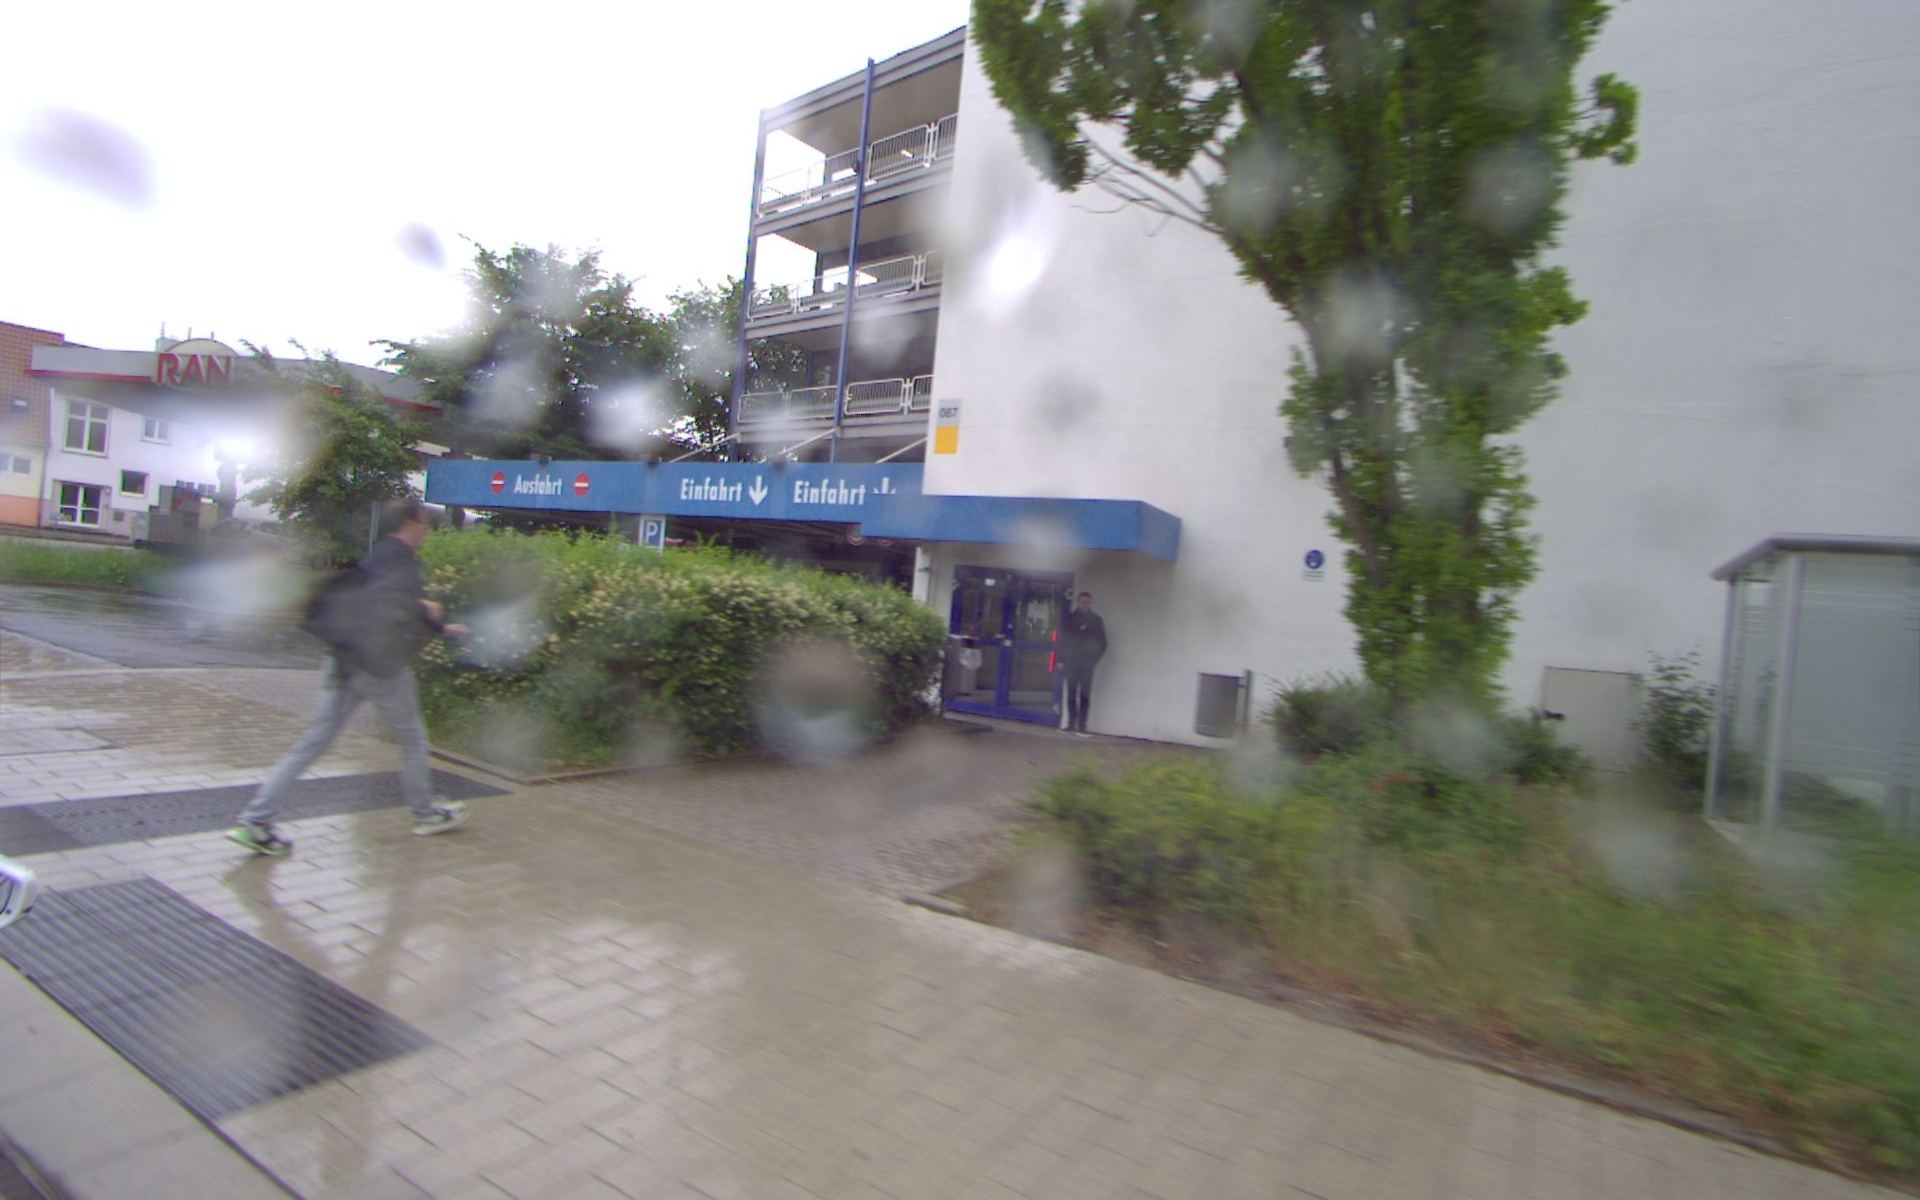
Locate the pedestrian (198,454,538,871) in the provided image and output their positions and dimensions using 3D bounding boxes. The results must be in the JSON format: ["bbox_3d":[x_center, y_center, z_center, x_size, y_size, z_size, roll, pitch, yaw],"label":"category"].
[{"bbox_3d":[-2.810,0.276,4.849,0.759,1.745,1.015,6,0,29],"label":"pedestrian"}]

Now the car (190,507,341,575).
[{"bbox_3d":[-22.260,-1.864,32.420,1.917,1.573,3.533,6,-3,12],"label":"car"}]

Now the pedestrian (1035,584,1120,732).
[{"bbox_3d":[1.566,0.769,13.386,0.759,1.858,0.570,6,0,29],"label":"pedestrian"}]

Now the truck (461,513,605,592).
[{"bbox_3d":[-13.774,-1.541,32.460,3.929,2.034,2.002,5,-5,26],"label":"truck"}]

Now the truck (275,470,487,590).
[{"bbox_3d":[-24.155,-2.763,42.567,2.629,3.479,7.765,5,-5,16],"label":"truck"}]
